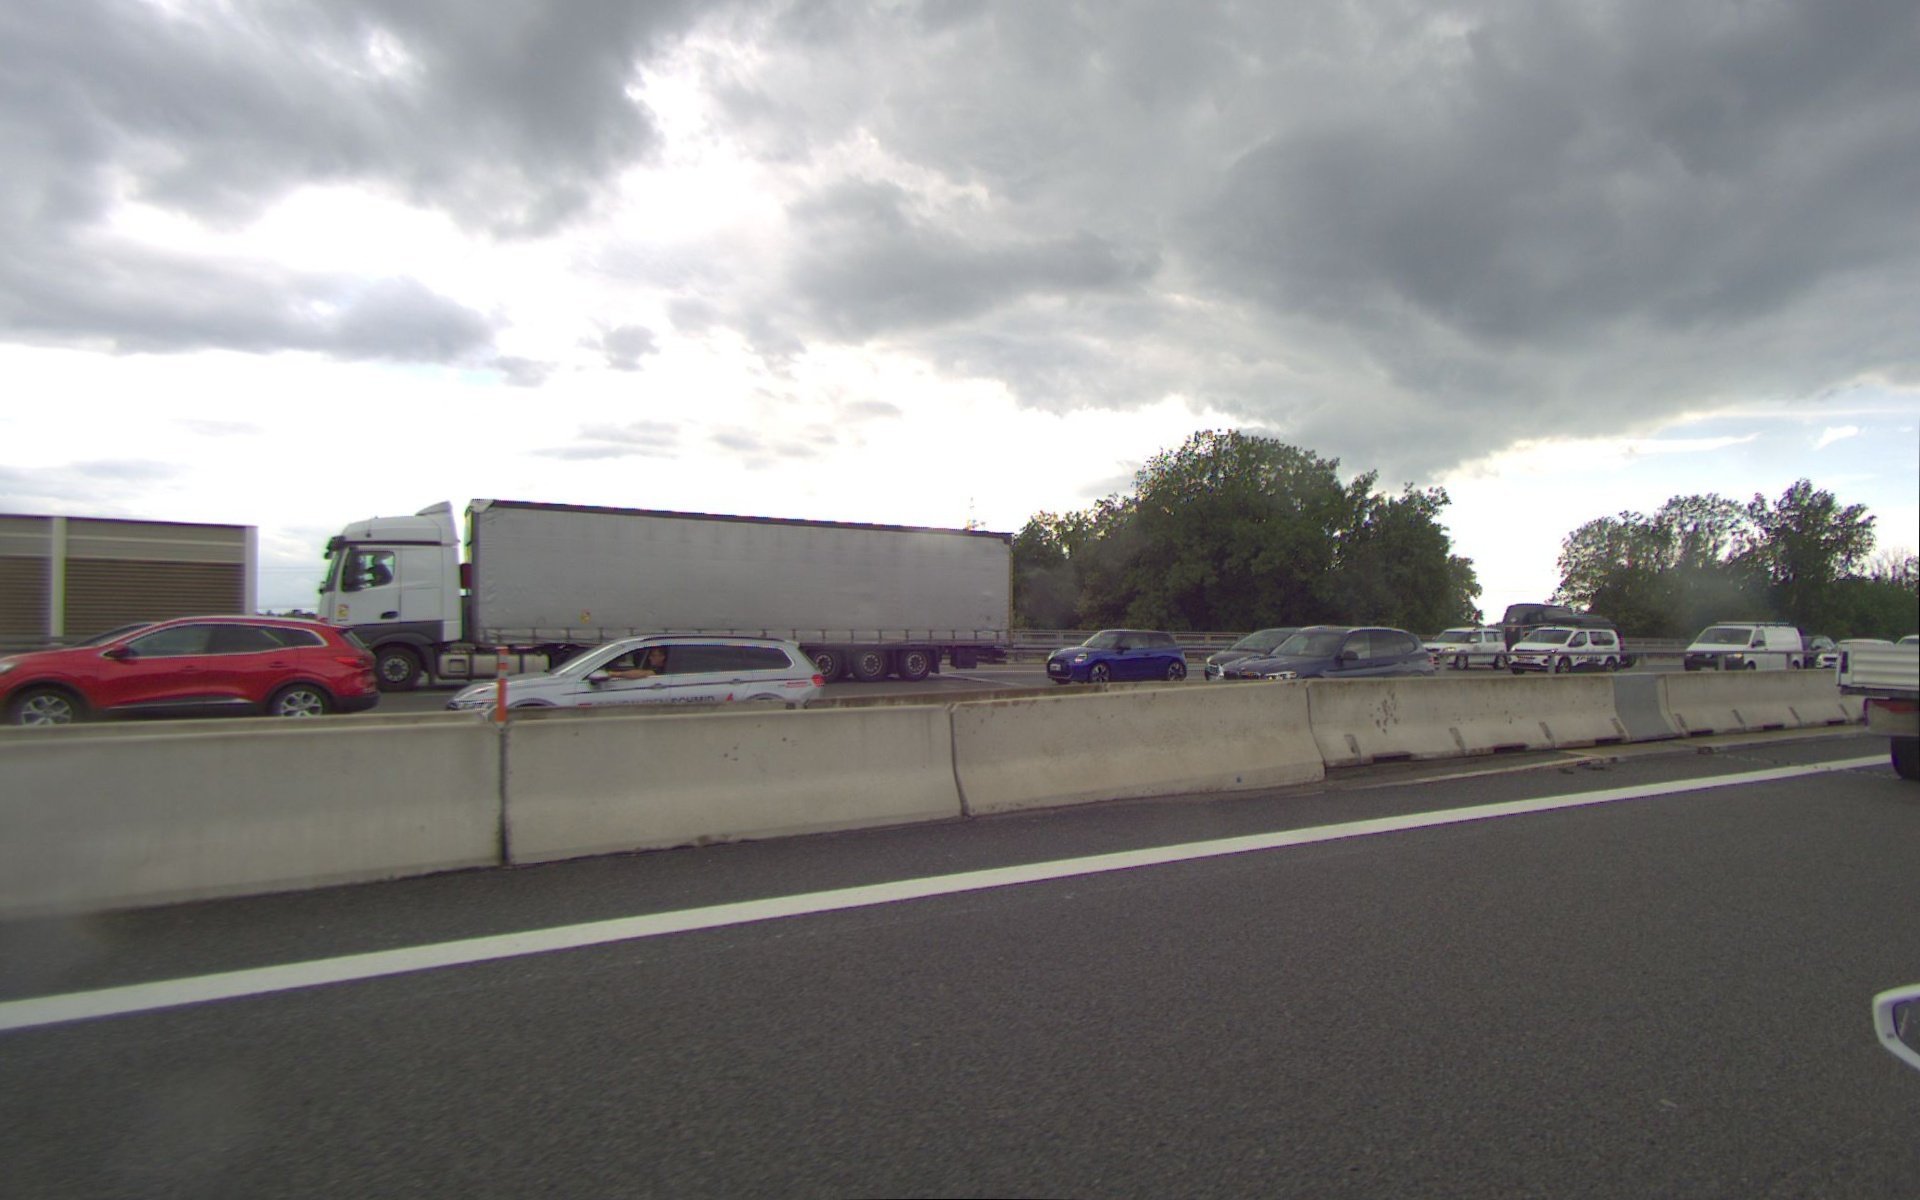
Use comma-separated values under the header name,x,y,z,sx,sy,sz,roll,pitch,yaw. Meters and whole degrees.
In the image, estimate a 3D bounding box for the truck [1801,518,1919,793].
name,x,y,z,sx,sy,sz,roll,pitch,yaw
truck,11.784,0.548,10.584,7.065,2.472,2.295,1,0,-31

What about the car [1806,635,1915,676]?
name,x,y,z,sx,sy,sz,roll,pitch,yaw
car,37.067,2.255,41.338,4.465,1.555,2.051,2,-1,-30

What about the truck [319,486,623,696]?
name,x,y,z,sx,sy,sz,roll,pitch,yaw
truck,-10.689,-0.107,22.227,5.657,4.088,2.959,1,-1,-30

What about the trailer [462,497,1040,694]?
name,x,y,z,sx,sy,sz,roll,pitch,yaw
trailer,-4.690,0.050,25.692,14.280,4.085,2.918,1,-1,-30

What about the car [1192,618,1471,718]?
name,x,y,z,sx,sy,sz,roll,pitch,yaw
car,7.130,1.224,19.106,5.315,1.667,2.051,2,-1,-30

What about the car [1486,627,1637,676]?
name,x,y,z,sx,sy,sz,roll,pitch,yaw
car,21.988,1.861,36.643,6.047,1.667,2.051,2,-1,-30

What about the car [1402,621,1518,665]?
name,x,y,z,sx,sy,sz,roll,pitch,yaw
car,20.140,1.726,40.403,4.465,1.667,2.051,2,-1,-30

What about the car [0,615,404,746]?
name,x,y,z,sx,sy,sz,roll,pitch,yaw
car,-10.373,1.029,13.880,4.663,1.555,2.051,2,-1,-30

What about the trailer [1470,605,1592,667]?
name,x,y,z,sx,sy,sz,roll,pitch,yaw
trailer,24.351,1.517,42.833,5.164,2.517,2.191,1,-1,-29

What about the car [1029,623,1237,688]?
name,x,y,z,sx,sy,sz,roll,pitch,yaw
car,4.661,1.452,26.785,5.404,1.555,2.051,2,-1,-30

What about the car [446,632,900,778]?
name,x,y,z,sx,sy,sz,roll,pitch,yaw
car,-3.656,1.242,13.167,5.404,1.555,2.051,2,-1,-30

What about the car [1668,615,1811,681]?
name,x,y,z,sx,sy,sz,roll,pitch,yaw
car,28.354,1.719,36.477,5.824,2.265,2.051,2,-1,-30

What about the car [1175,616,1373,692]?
name,x,y,z,sx,sy,sz,roll,pitch,yaw
car,7.555,1.254,24.115,4.465,1.667,2.051,2,-1,-30
